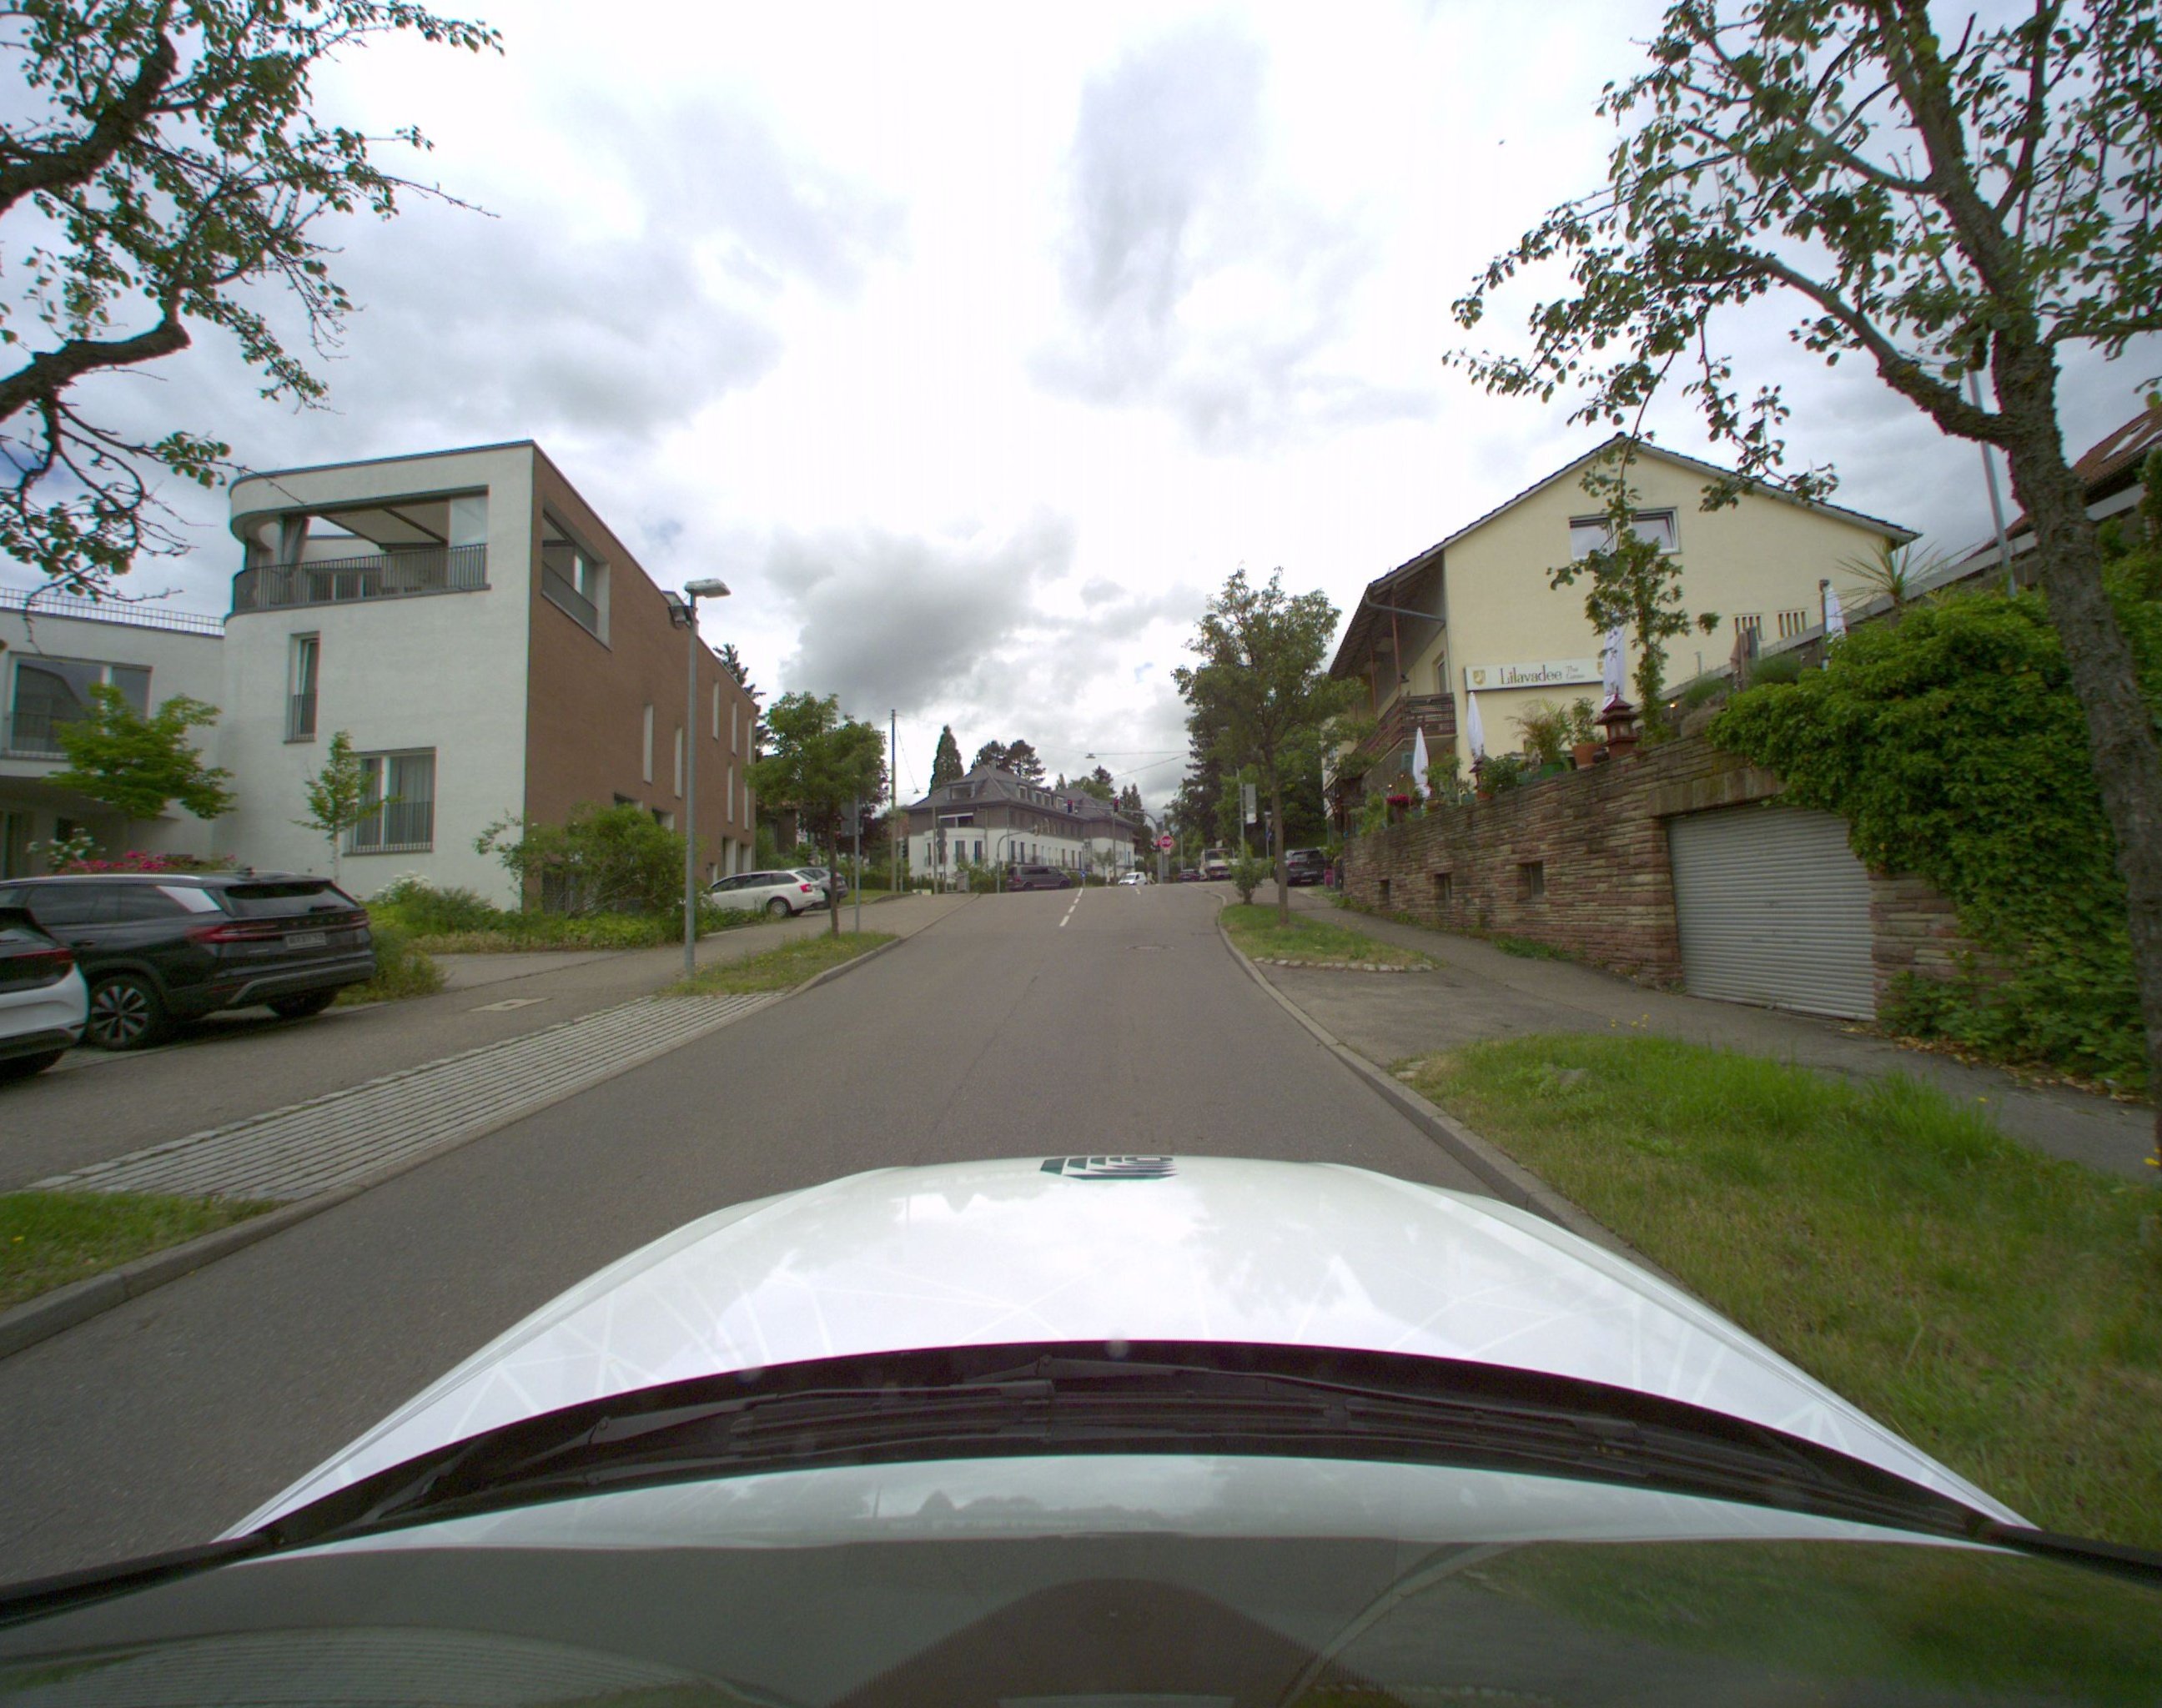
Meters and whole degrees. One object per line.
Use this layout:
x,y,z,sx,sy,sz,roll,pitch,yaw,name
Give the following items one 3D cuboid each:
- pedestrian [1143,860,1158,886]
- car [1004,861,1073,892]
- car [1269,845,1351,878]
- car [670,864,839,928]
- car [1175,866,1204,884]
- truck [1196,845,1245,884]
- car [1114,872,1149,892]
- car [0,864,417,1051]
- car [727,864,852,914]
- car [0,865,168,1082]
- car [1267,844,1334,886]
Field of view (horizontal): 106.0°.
4.740,1.301,55.529,0.699,1.682,0.682,-2,-1,-17,pedestrian
-3.043,1.620,58.610,4.523,2.014,1.980,-1,-3,-30,car
13.042,0.483,46.344,4.202,1.594,1.998,-3,-4,23,car
-9.813,1.251,24.751,4.249,1.623,2.012,-3,-2,-2,car
10.701,2.027,79.953,2.138,1.491,4.732,-2,0,16,car
9.020,0.773,53.194,2.176,2.195,5.880,-2,-3,0,truck
5.251,2.900,84.316,1.975,1.857,4.380,-2,0,28,car
-9.757,0.991,8.501,3.972,1.653,2.009,-2,-1,1,car
-10.253,1.215,28.849,3.754,1.464,1.729,-3,0,-5,car
-10.046,0.980,5.910,4.373,1.566,2.066,-3,0,-1,car
8.968,0.451,33.602,1.839,1.472,4.392,-5,-1,5,car
